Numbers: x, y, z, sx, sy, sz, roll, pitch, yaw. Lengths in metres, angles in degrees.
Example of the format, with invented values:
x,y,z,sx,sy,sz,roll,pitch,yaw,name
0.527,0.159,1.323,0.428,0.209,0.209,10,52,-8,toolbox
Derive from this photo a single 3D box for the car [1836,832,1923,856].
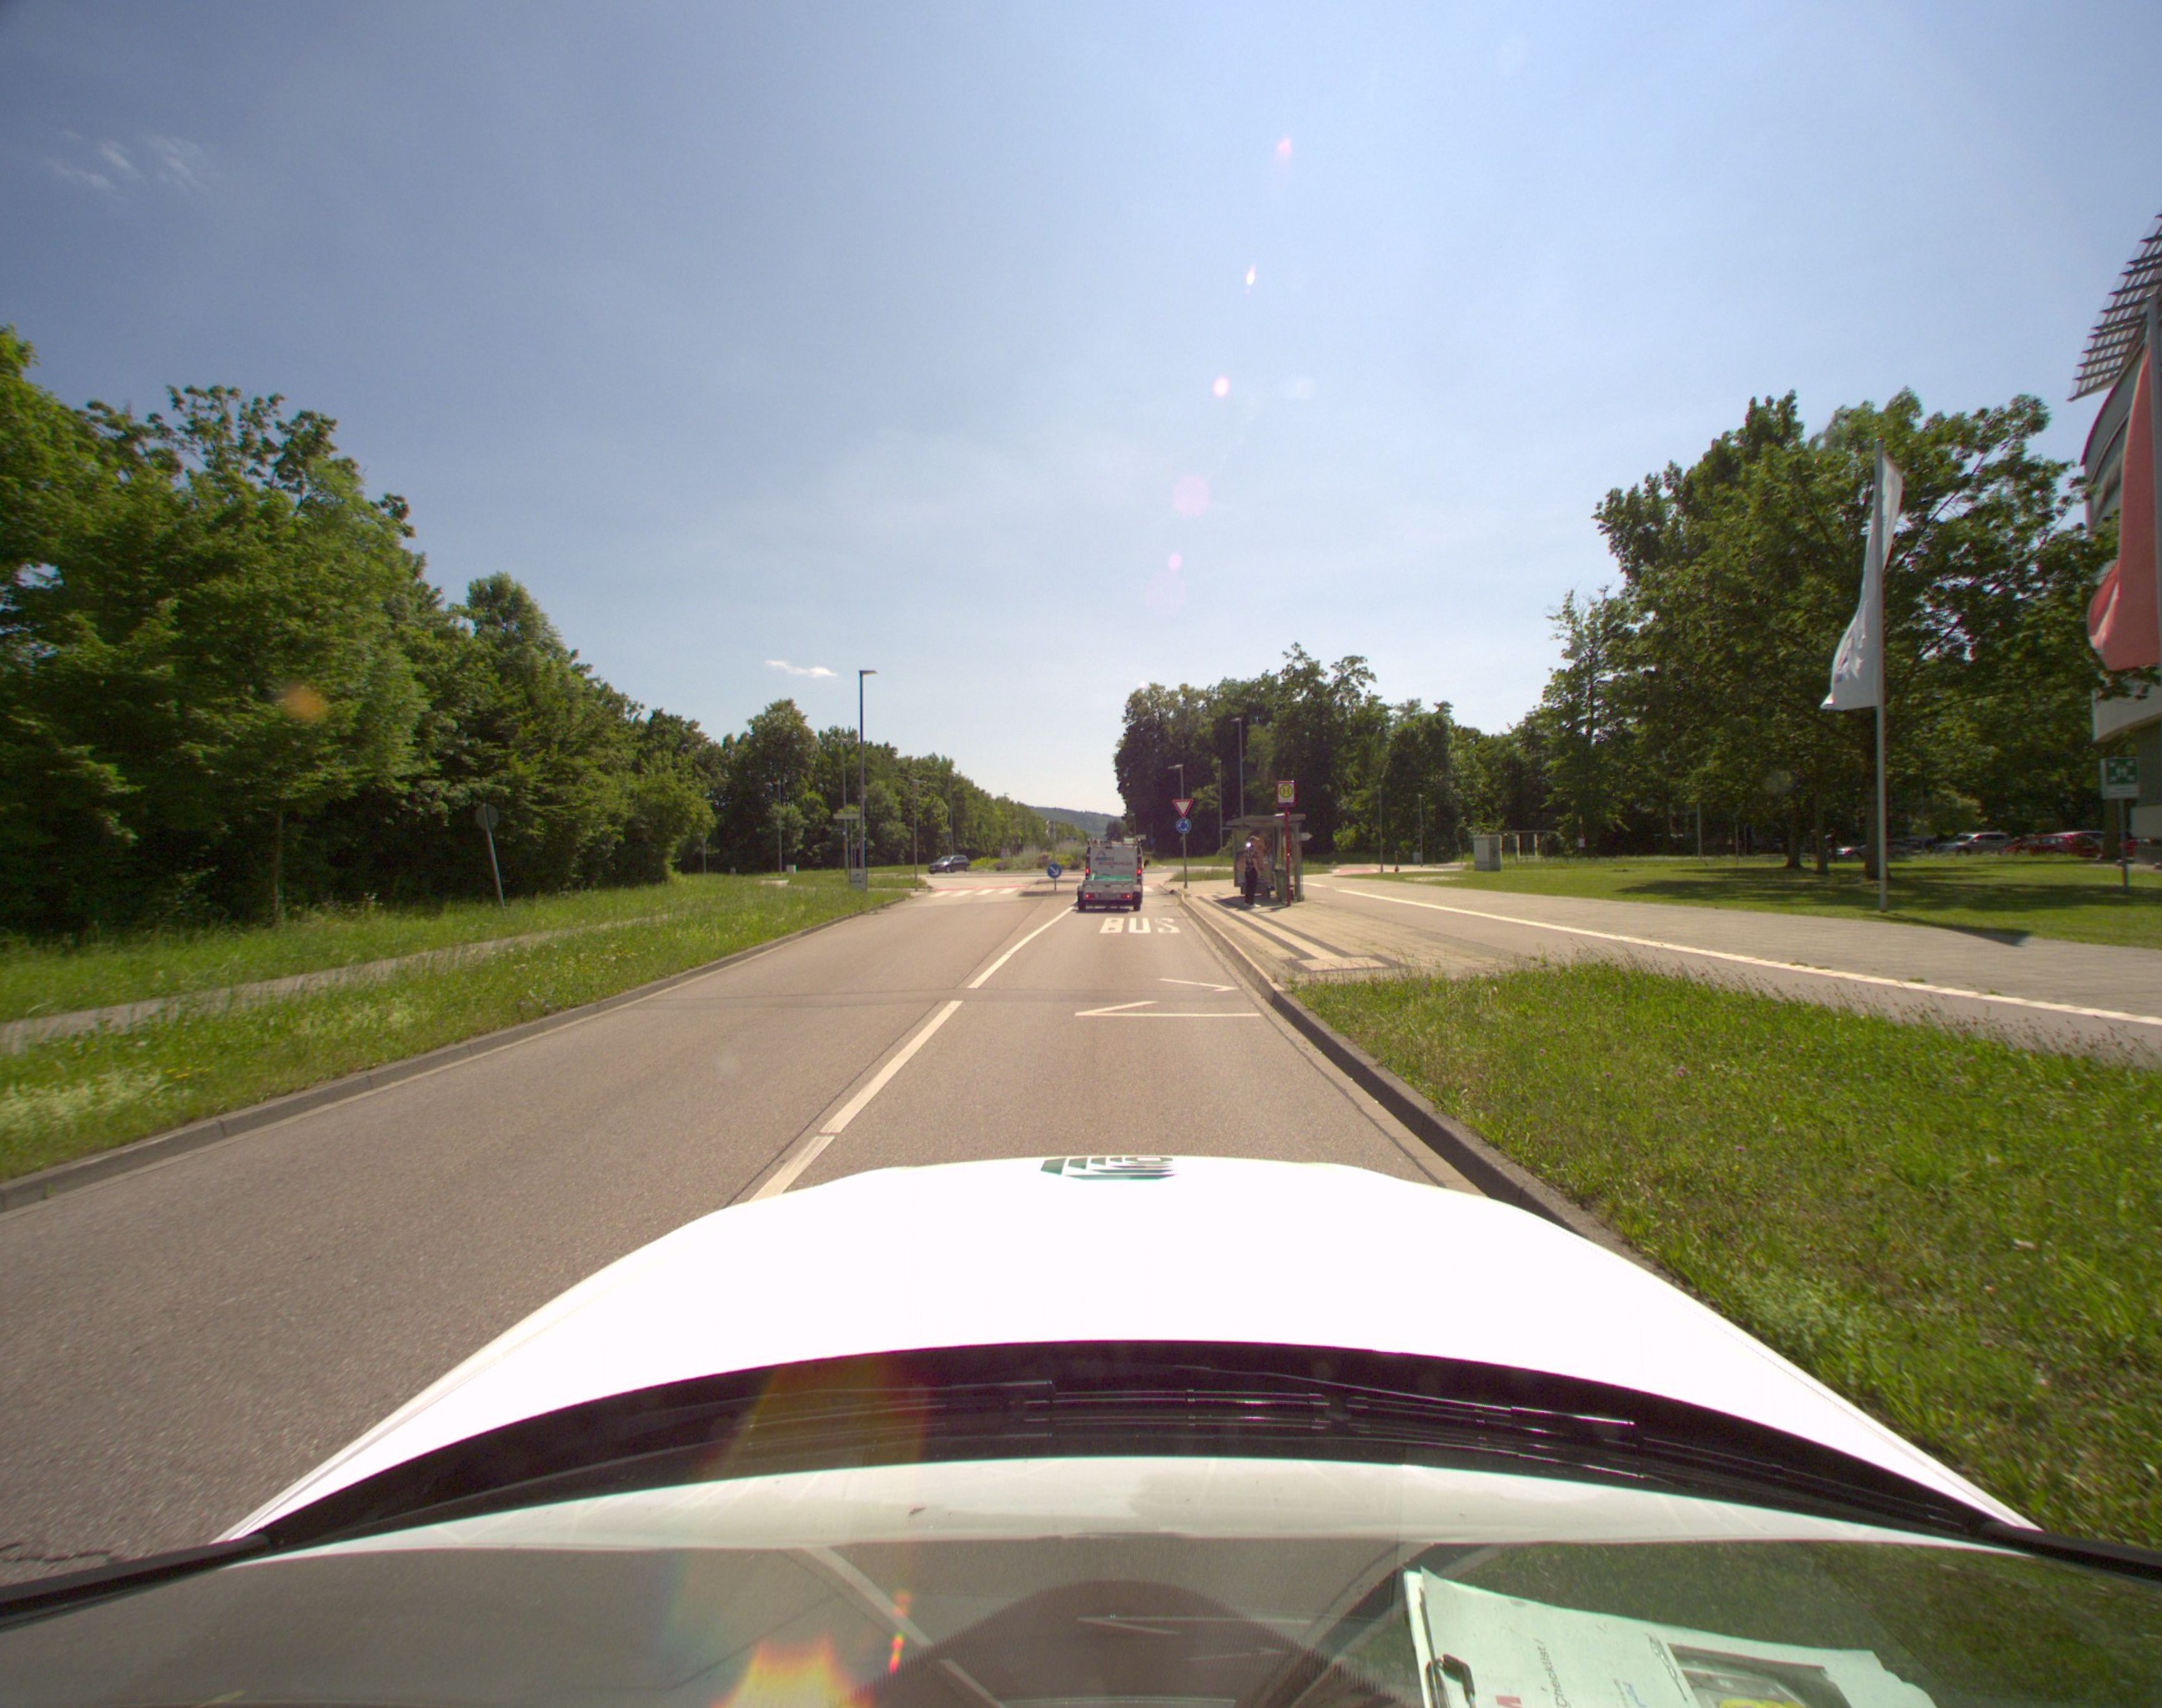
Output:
x,y,z,sx,sy,sz,roll,pitch,yaw,name
53.929,-0.692,55.058,3.966,1.485,1.707,-1,2,6,car

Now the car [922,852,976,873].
x,y,z,sx,sy,sz,roll,pitch,yaw,name
-10.808,0.710,67.045,1.974,1.478,4.317,-2,1,33,car

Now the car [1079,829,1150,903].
x,y,z,sx,sy,sz,roll,pitch,yaw,name
1.281,0.400,28.325,2.155,2.316,4.989,-1,0,6,car

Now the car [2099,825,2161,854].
x,y,z,sx,sy,sz,roll,pitch,yaw,name
57.714,-0.768,43.597,1.855,1.483,3.688,-1,0,3,car

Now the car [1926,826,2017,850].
x,y,z,sx,sy,sz,roll,pitch,yaw,name
59.506,-1.055,54.479,3.758,1.416,1.889,-2,0,10,car

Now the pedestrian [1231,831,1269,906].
x,y,z,sx,sy,sz,roll,pitch,yaw,name
4.268,0.352,20.662,0.705,1.822,0.827,-4,-1,2,pedestrian

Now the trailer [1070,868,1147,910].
x,y,z,sx,sy,sz,roll,pitch,yaw,name
0.889,1.004,24.171,2.111,1.097,3.359,-1,0,5,trailer

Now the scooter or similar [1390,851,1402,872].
x,y,z,sx,sy,sz,roll,pitch,yaw,name
18.151,0.440,46.958,0.442,1.201,1.407,-1,-1,29,scooter or similar

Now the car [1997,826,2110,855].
x,y,z,sx,sy,sz,roll,pitch,yaw,name
52.966,-0.721,44.444,1.855,1.483,3.688,-1,0,3,car
